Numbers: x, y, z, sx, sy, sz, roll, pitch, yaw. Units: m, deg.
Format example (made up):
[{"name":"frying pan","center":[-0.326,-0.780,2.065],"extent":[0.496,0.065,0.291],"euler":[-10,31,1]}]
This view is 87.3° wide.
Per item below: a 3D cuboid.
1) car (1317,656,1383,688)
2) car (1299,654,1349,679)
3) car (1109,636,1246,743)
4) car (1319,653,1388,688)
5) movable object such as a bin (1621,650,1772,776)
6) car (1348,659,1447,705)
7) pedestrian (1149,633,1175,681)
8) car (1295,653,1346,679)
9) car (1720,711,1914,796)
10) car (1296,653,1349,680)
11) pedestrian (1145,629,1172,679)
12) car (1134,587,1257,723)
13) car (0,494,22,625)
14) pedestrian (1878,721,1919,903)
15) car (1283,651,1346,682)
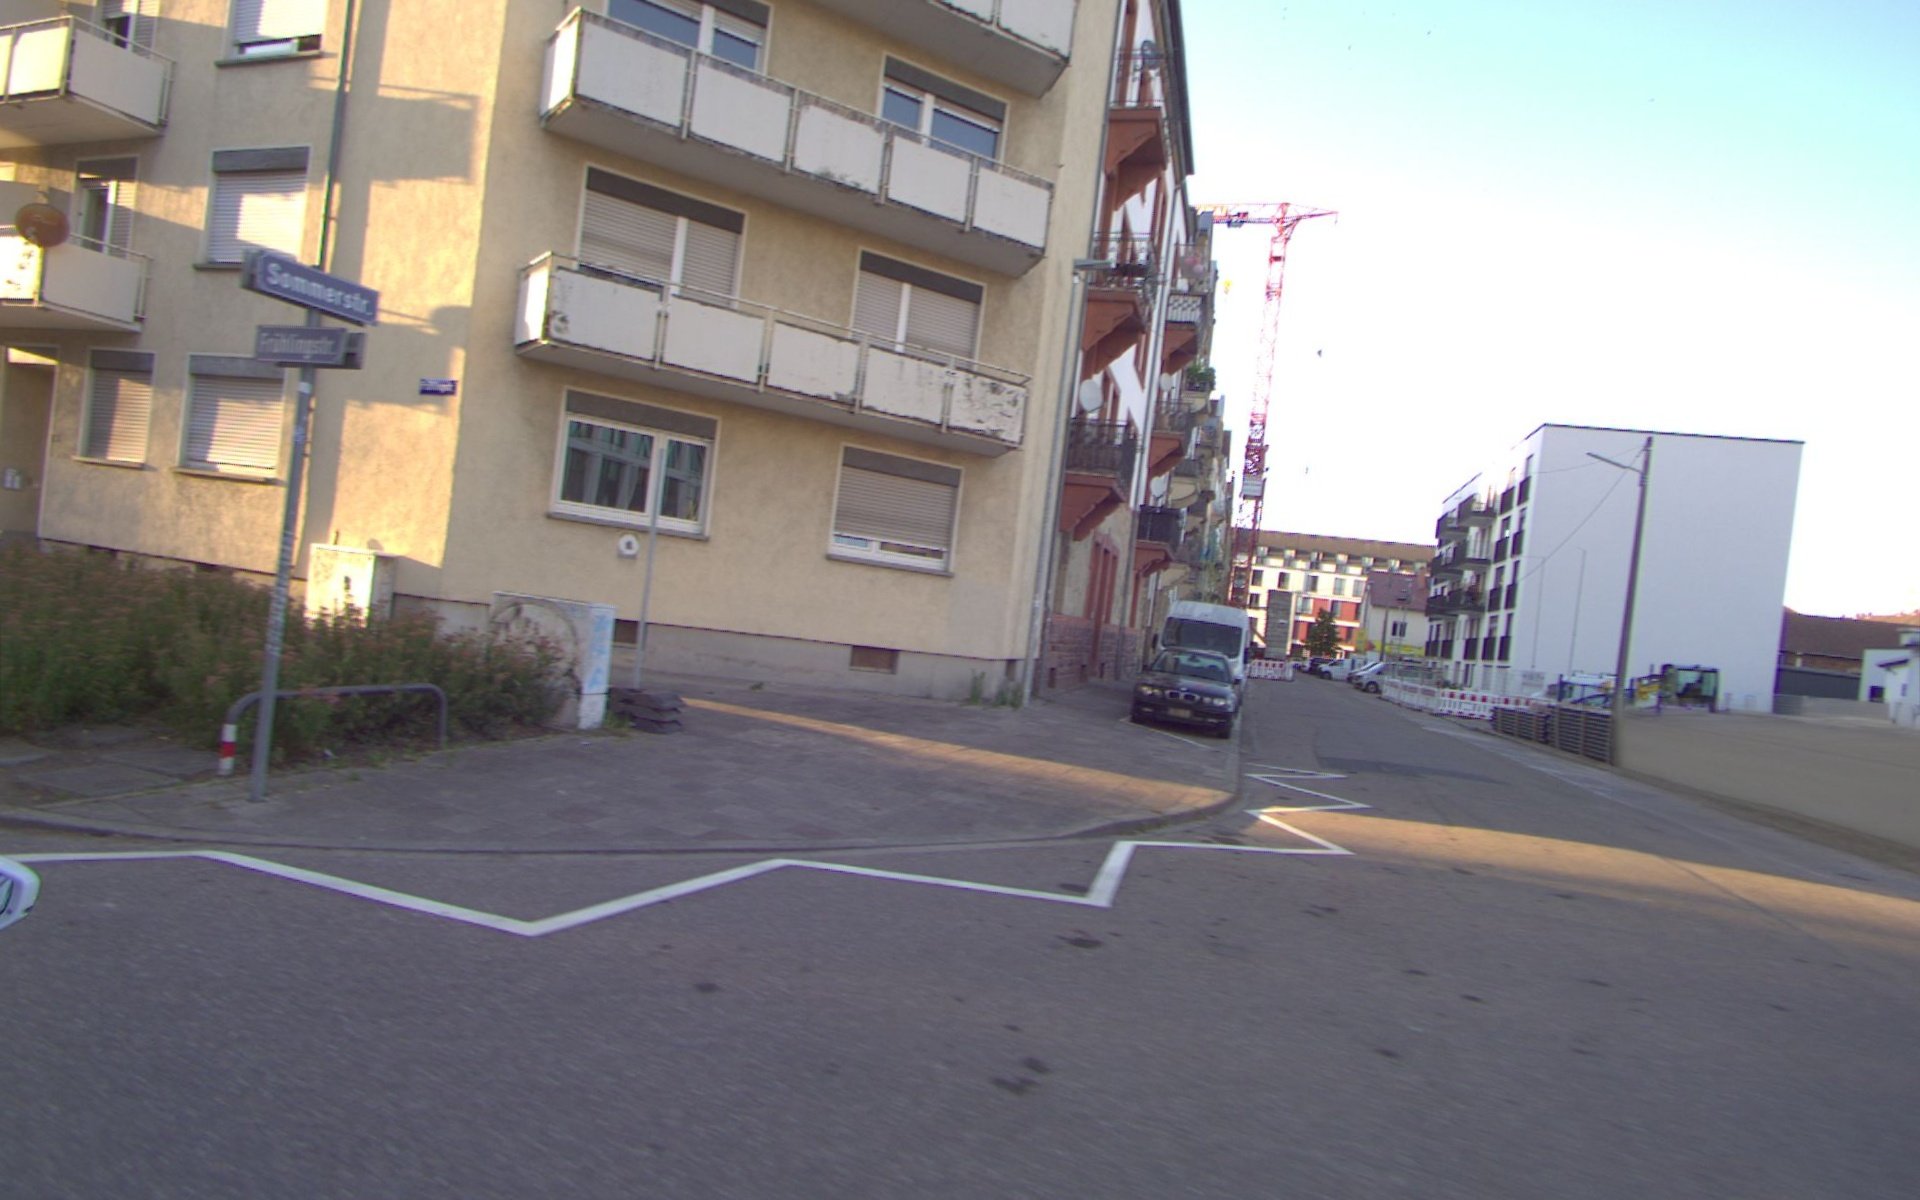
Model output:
[{"name":"car","center":[33.351,6.132,86.026],"extent":[4.979,2.096,1.999],"euler":[7,0,23]},{"name":"car","center":[40.148,7.325,110.891],"extent":[4.898,2.096,1.999],"euler":[7,0,23]},{"name":"car","center":[4.043,1.534,18.182],"extent":[1.962,1.388,4.002],"euler":[9,0,16]},{"name":"car","center":[31.881,5.682,81.552],"extent":[4.979,2.096,1.999],"euler":[7,0,23]},{"name":"movable object such as a bin","center":[19.544,2.967,27.000],"extent":[2.630,2.692,5.190],"euler":[7,0,32]},{"name":"car","center":[26.708,4.978,61.582],"extent":[4.975,2.096,2.001],"euler":[7,0,6]},{"name":"pedestrian","center":[7.548,2.121,37.557],"extent":[0.771,1.686,0.630],"euler":[7,1,12]},{"name":"car","center":[38.688,7.054,107.874],"extent":[4.898,2.096,1.999],"euler":[7,0,23]},{"name":"car","center":[25.113,4.449,29.691],"extent":[3.934,1.724,1.845],"euler":[7,0,32]},{"name":"car","center":[37.648,6.930,104.602],"extent":[4.898,2.096,1.999],"euler":[7,0,23]},{"name":"pedestrian","center":[7.401,2.001,37.520],"extent":[0.688,1.766,0.730],"euler":[7,0,19]},{"name":"car","center":[5.862,1.304,24.424],"extent":[2.190,2.560,6.040],"euler":[9,0,16]},{"name":"car","center":[-12.544,-0.664,10.286],"extent":[1.709,1.510,3.885],"euler":[7,-1,20]},{"name":"pedestrian","center":[9.447,2.056,9.543],"extent":[0.773,1.686,0.628],"euler":[9,1,32]},{"name":"car","center":[31.712,5.974,90.006],"extent":[4.979,2.096,1.999],"euler":[7,0,23]}]
